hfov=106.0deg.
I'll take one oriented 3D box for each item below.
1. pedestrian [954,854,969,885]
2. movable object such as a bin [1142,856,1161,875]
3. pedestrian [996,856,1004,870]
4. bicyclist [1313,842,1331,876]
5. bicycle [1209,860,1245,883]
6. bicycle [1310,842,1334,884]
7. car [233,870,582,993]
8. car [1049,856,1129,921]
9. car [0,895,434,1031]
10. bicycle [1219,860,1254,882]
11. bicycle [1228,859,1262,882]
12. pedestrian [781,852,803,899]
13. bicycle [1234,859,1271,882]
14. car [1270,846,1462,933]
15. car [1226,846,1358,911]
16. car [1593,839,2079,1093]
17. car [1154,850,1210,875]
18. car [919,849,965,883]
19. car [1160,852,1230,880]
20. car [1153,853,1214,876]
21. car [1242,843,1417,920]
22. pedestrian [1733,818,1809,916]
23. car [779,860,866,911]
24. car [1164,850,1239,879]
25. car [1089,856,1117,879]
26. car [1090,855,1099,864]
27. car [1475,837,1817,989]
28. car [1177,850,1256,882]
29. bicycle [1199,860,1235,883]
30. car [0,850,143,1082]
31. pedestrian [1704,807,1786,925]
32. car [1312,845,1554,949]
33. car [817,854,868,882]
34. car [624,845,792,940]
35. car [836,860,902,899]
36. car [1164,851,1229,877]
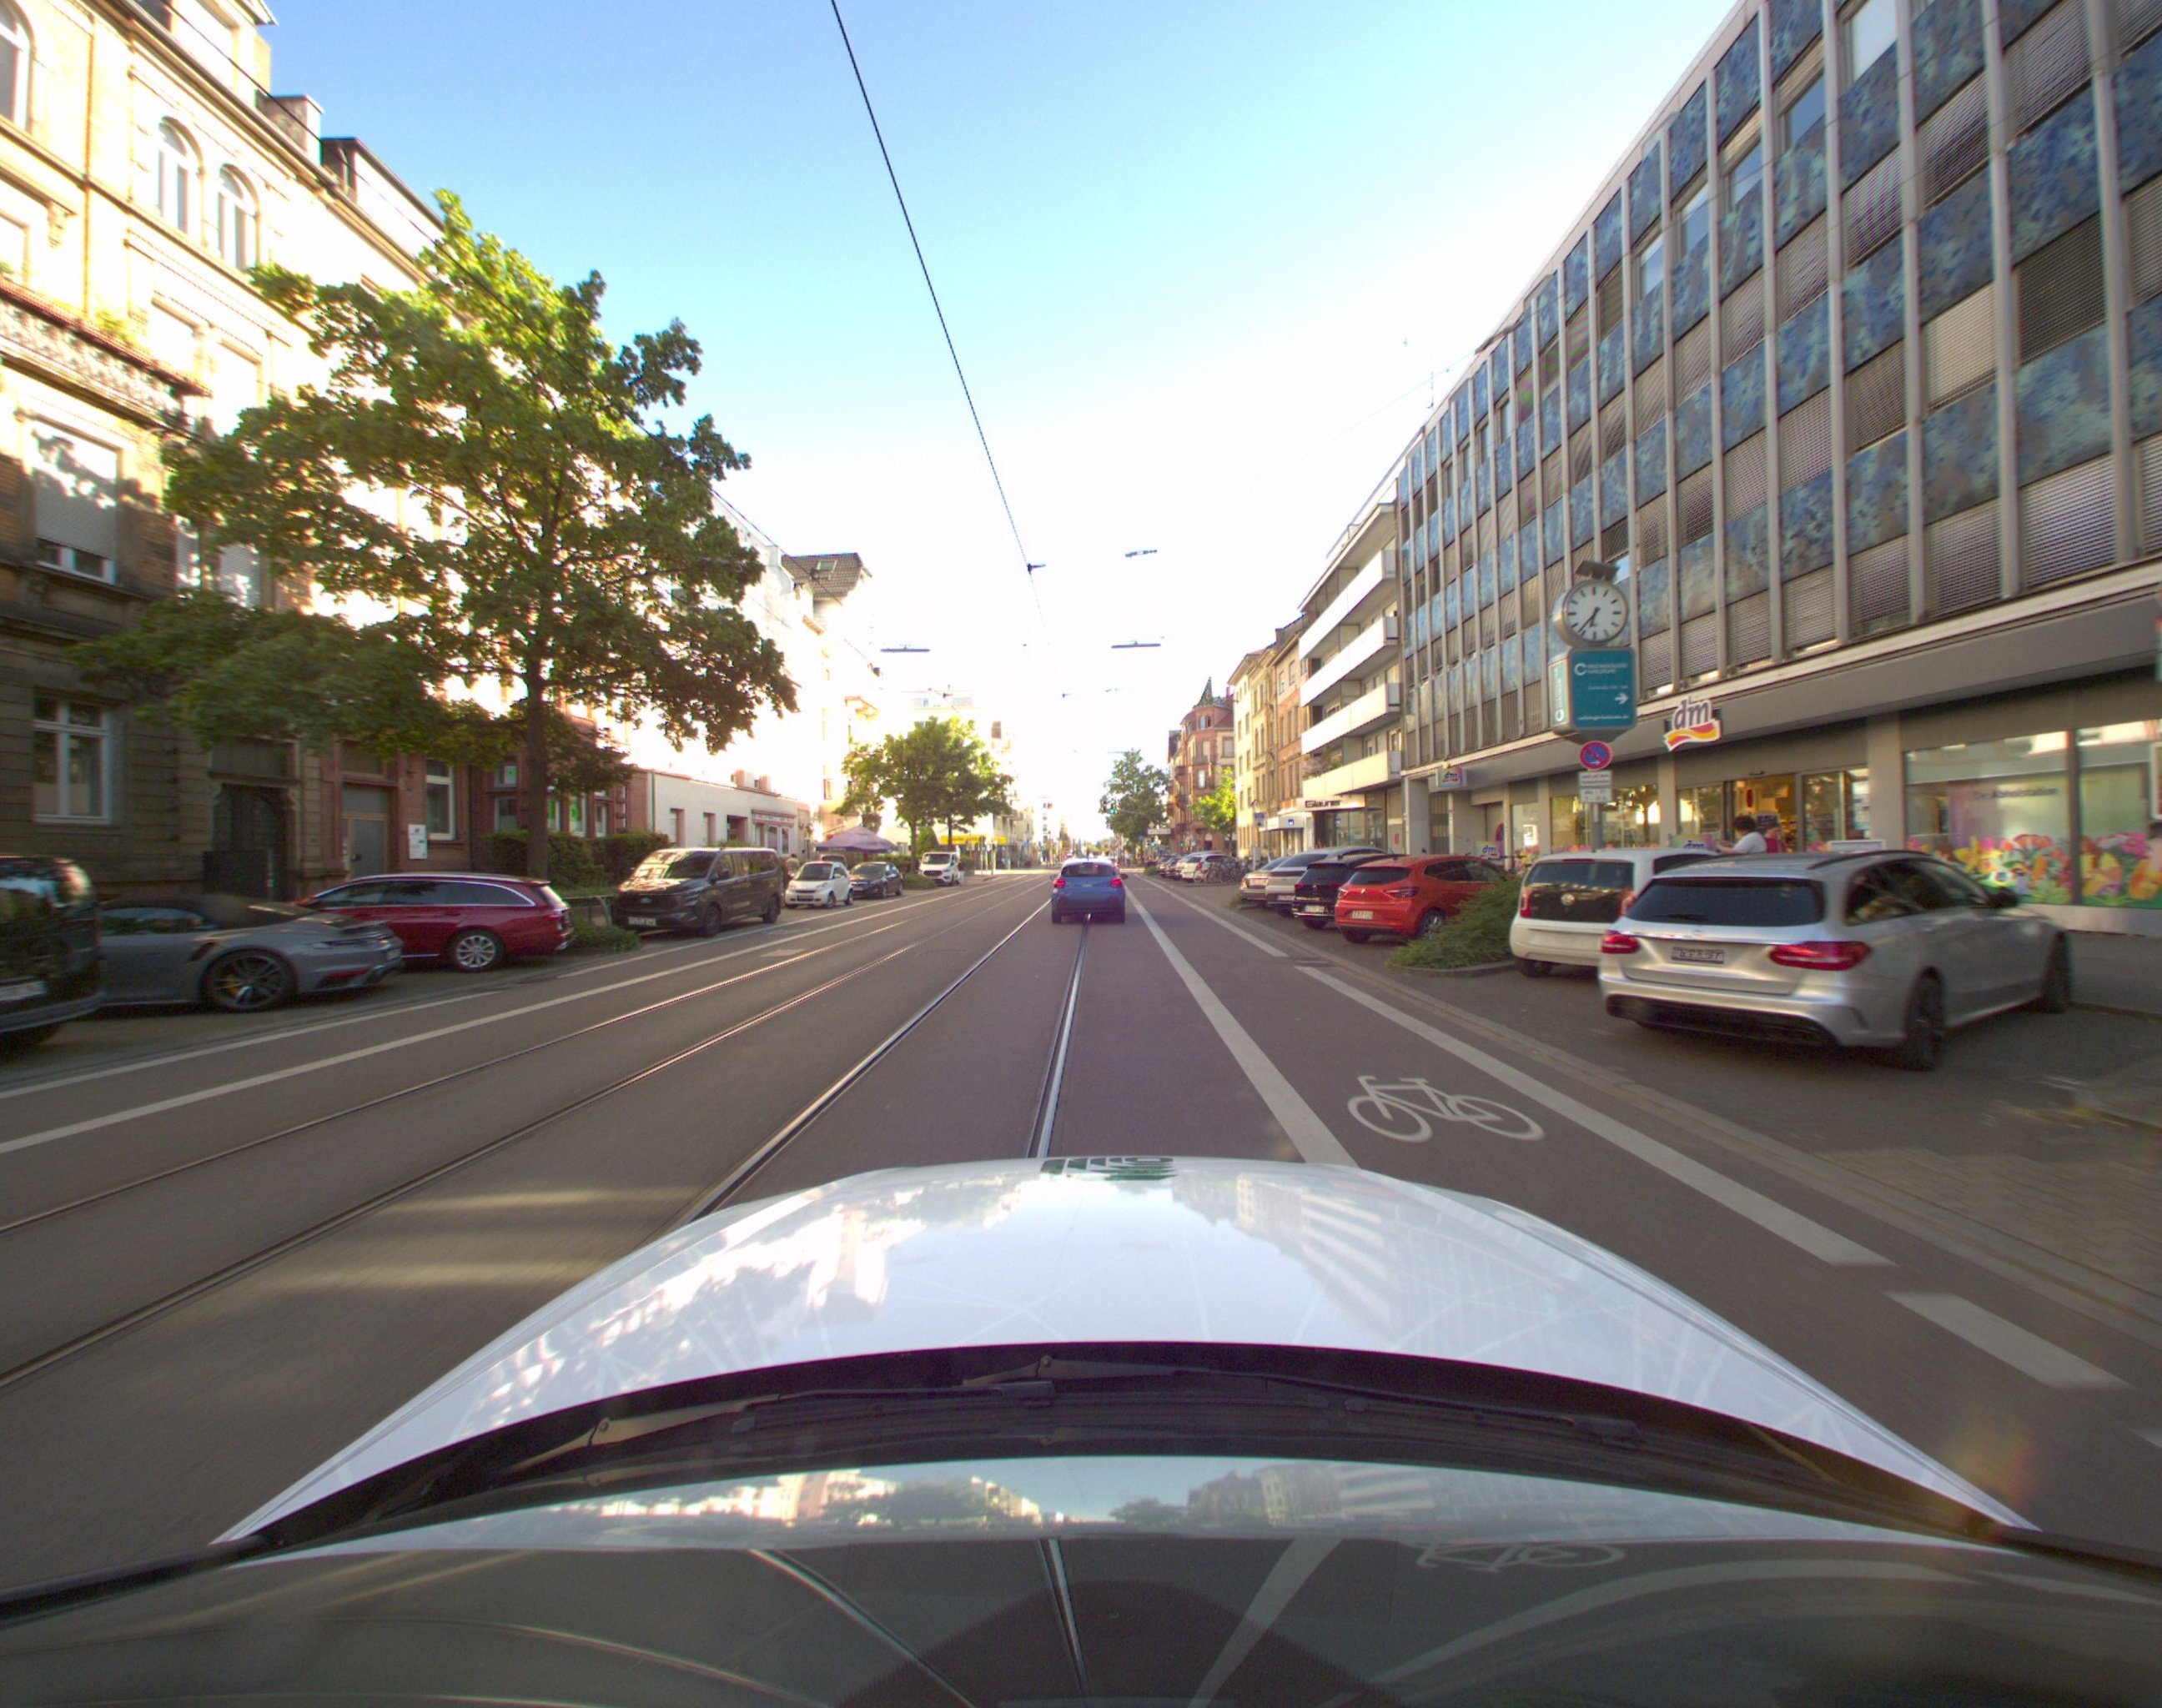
[{"bbox_3d":[-6.784,0.871,46.119,0.732,1.726,0.623,0,-1,-23],"label":"pedestrian"},{"bbox_3d":[5.531,0.923,63.911,1.389,1.483,1.656,0,-1,1],"label":"movable object such as a bin"},{"bbox_3d":[-9.894,1.086,99.559,0.942,1.751,0.699,0,-1,-3],"label":"pedestrian"},{"bbox_3d":[11.734,0.234,39.665,0.728,1.623,0.529,-1,-1,7],"label":"bicyclist"},{"bbox_3d":[6.840,0.792,38.230,0.557,1.048,1.789,0,-1,-34],"label":"bicycle"},{"bbox_3d":[11.729,0.442,39.698,0.724,2.014,2.363,-1,-1,7],"label":"bicycle"},{"bbox_3d":[-10.088,1.088,12.585,3.736,1.622,1.777,0,-1,-20],"label":"car"},{"bbox_3d":[0.210,0.778,19.832,1.756,1.441,3.557,0,0,1],"label":"car"},{"bbox_3d":[-10.224,1.189,9.572,3.815,1.265,1.504,0,-1,-25],"label":"car"},{"bbox_3d":[7.352,0.794,38.600,0.557,1.048,1.789,0,-1,-34],"label":"bicycle"},{"bbox_3d":[7.822,0.771,38.920,0.471,1.048,1.788,0,-1,-34],"label":"bicycle"},{"bbox_3d":[-11.484,0.841,32.406,0.622,1.824,0.660,0,-1,1],"label":"pedestrian"},{"bbox_3d":[8.279,0.795,39.335,0.557,1.048,1.787,0,-1,-37],"label":"bicycle"},{"bbox_3d":[5.705,0.643,16.261,3.463,1.555,1.806,0,-1,-31],"label":"car"},{"bbox_3d":[5.779,0.625,22.207,3.467,1.640,1.666,0,-1,-35],"label":"car"},{"bbox_3d":[6.227,0.668,6.596,4.465,1.508,1.522,0,-1,-28],"label":"car"},{"bbox_3d":[7.414,0.614,59.789,3.664,1.715,1.778,0,-1,-18],"label":"car"},{"bbox_3d":[-8.065,0.682,47.589,1.825,1.848,4.215,0,-1,2],"label":"car"},{"bbox_3d":[6.715,0.672,48.029,3.664,1.574,1.849,0,-1,-18],"label":"car"},{"bbox_3d":[6.866,0.691,54.635,3.664,1.534,1.778,0,-1,-18],"label":"car"},{"bbox_3d":[5.924,0.598,19.398,3.743,1.652,2.027,0,-1,-32],"label":"car"},{"bbox_3d":[11.546,0.211,13.645,0.690,1.588,0.678,0,-1,1],"label":"pedestrian"},{"bbox_3d":[-8.965,1.034,28.637,1.742,1.618,4.408,0,0,-2],"label":"car"},{"bbox_3d":[6.660,0.564,44.976,3.664,1.574,1.849,0,-1,-18],"label":"car"},{"bbox_3d":[1.557,0.946,57.483,1.866,1.596,4.002,0,0,2],"label":"car"},{"bbox_3d":[2.182,0.883,134.604,1.417,1.432,3.140,0,-1,2],"label":"car"},{"bbox_3d":[6.726,0.581,9.670,3.796,1.487,1.822,0,-1,-28],"label":"car"},{"bbox_3d":[6.960,0.601,41.851,3.674,1.574,1.844,0,-1,-27],"label":"car"},{"bbox_3d":[6.304,0.797,37.881,0.557,1.048,1.789,0,-1,-34],"label":"bicycle"},{"bbox_3d":[-10.616,0.891,6.313,4.006,1.817,1.699,0,-1,-24],"label":"car"},{"bbox_3d":[10.148,0.179,12.469,0.690,1.756,0.678,0,-1,1],"label":"pedestrian"},{"bbox_3d":[5.952,0.635,13.704,3.743,1.521,1.949,0,-1,-32],"label":"car"},{"bbox_3d":[-12.714,0.729,43.599,1.628,1.469,3.528,0,0,2],"label":"car"},{"bbox_3d":[-8.744,0.820,19.679,1.742,1.973,5.237,0,0,-2],"label":"car"},{"bbox_3d":[-8.564,0.991,33.207,1.743,1.487,4.038,0,0,-2],"label":"car"},{"bbox_3d":[7.235,0.598,51.140,3.664,1.574,1.849,0,-1,-18],"label":"car"}]
